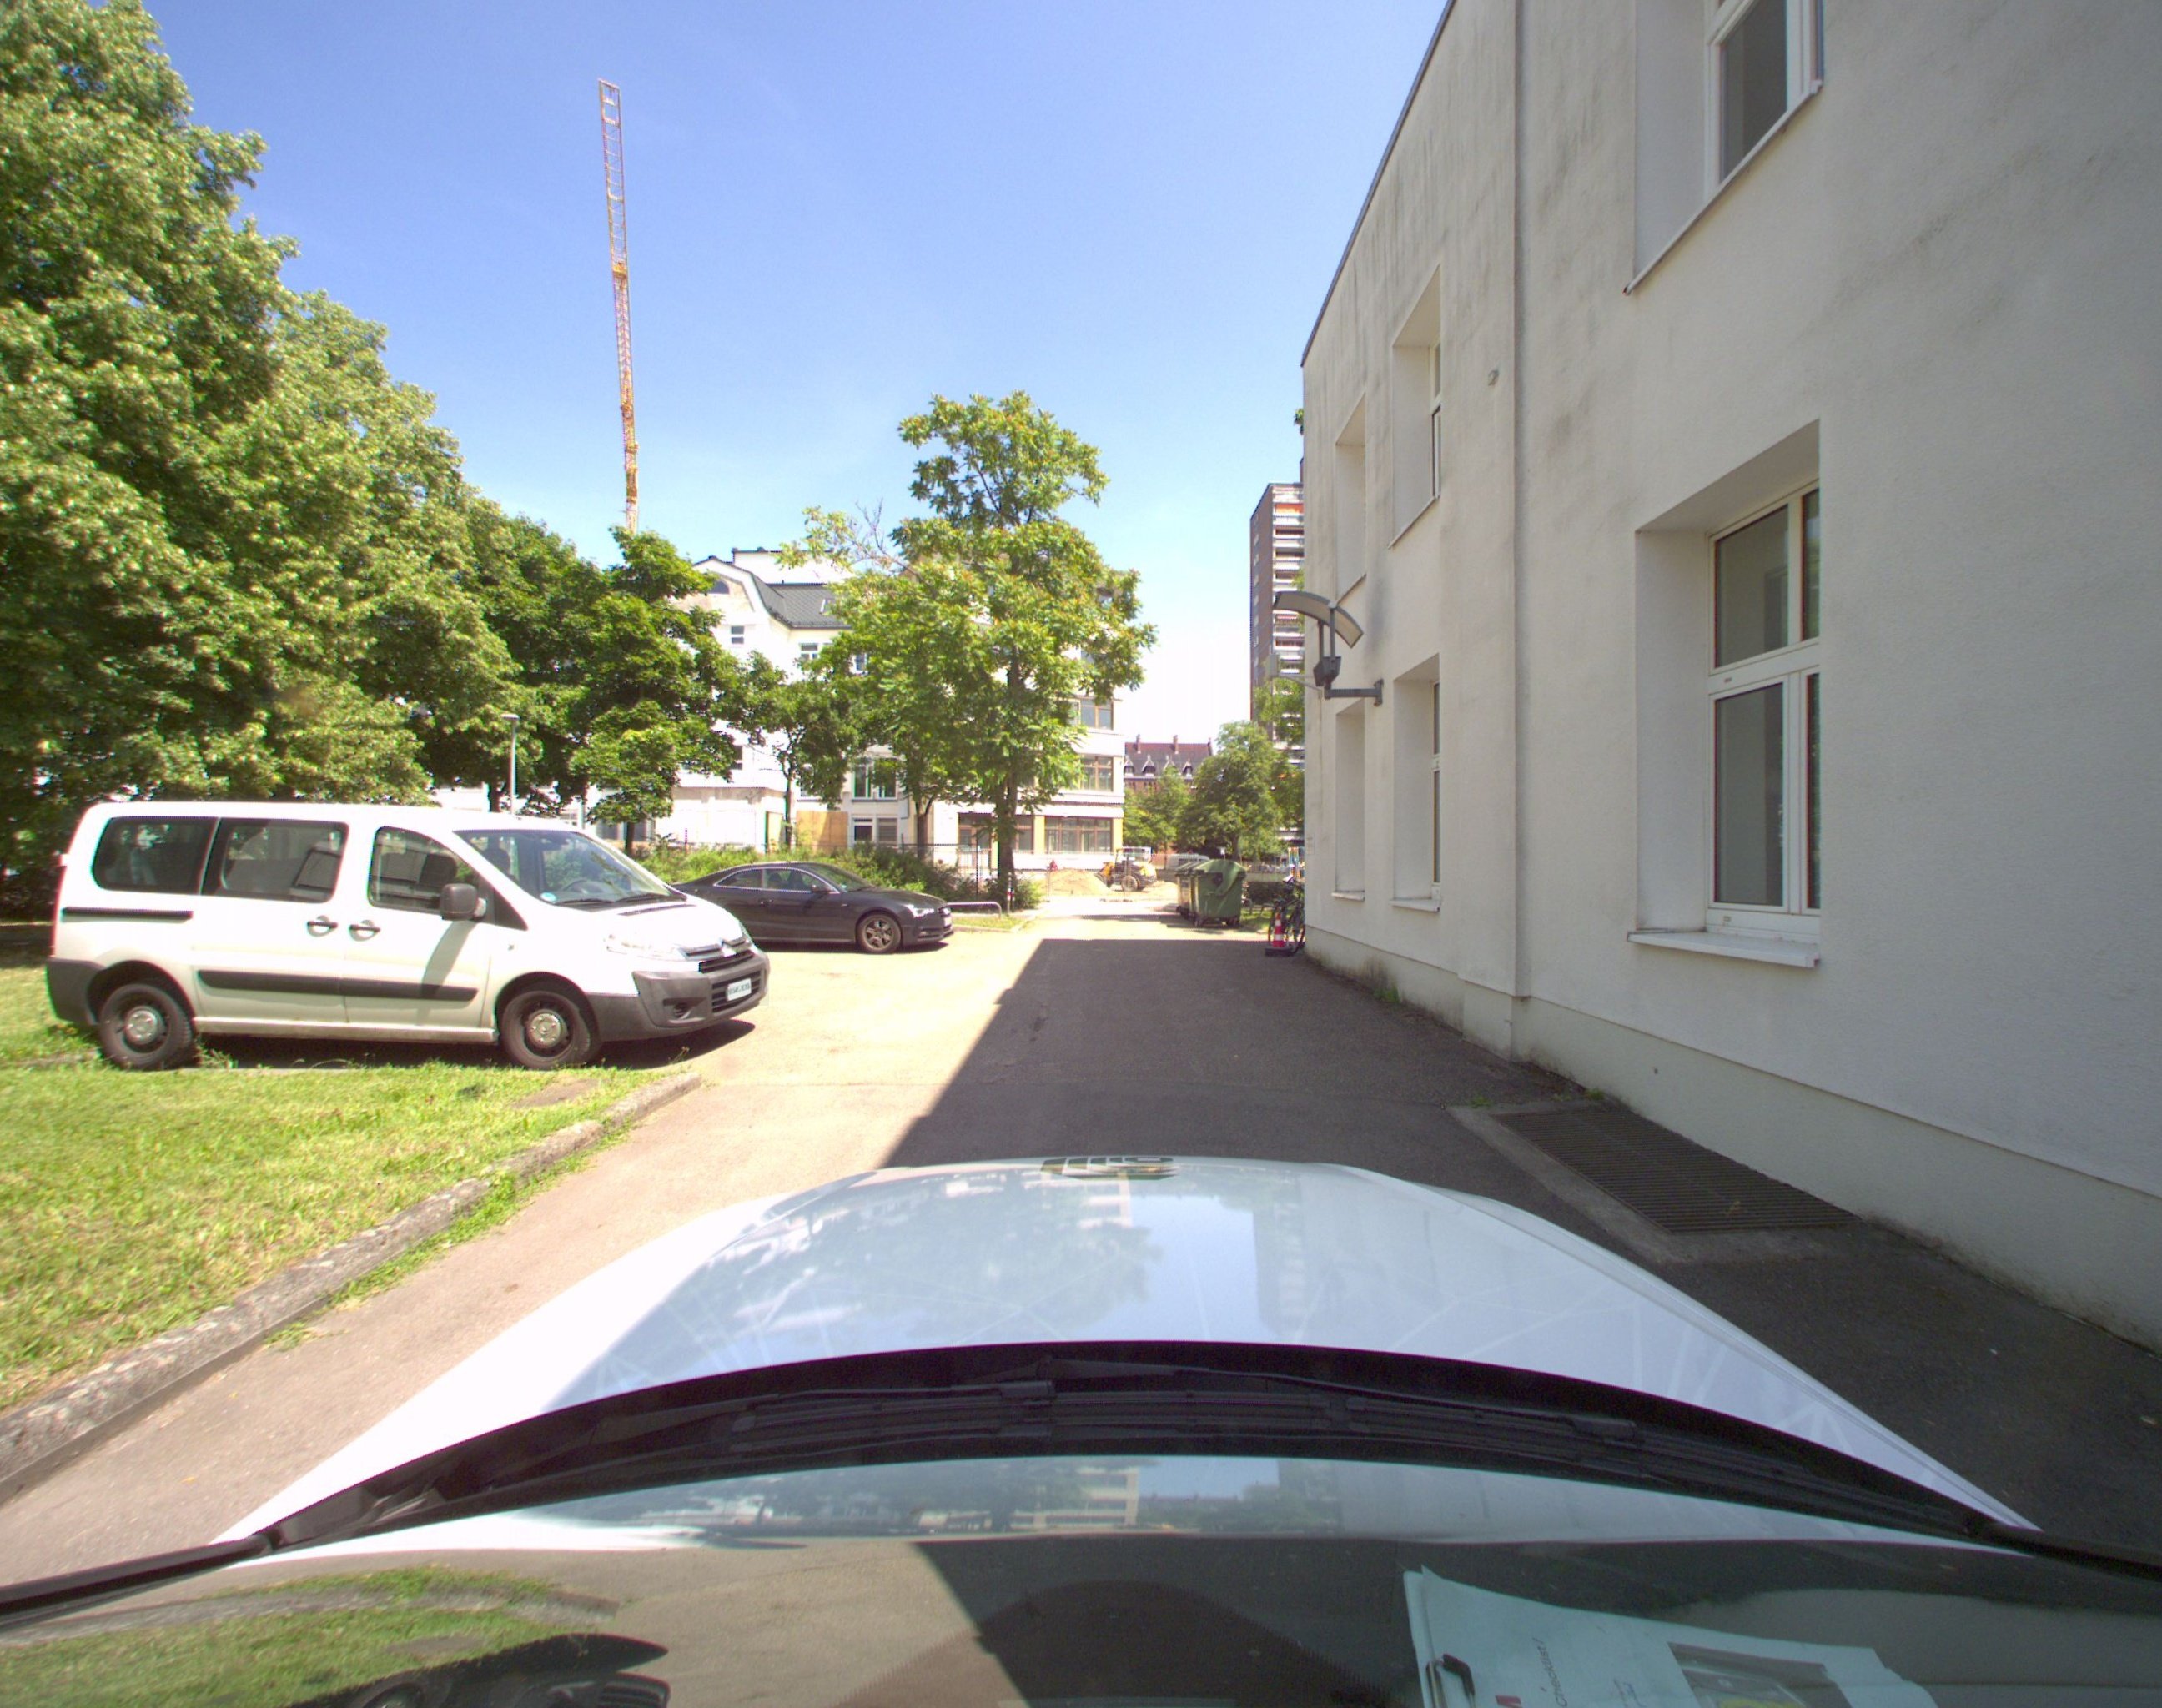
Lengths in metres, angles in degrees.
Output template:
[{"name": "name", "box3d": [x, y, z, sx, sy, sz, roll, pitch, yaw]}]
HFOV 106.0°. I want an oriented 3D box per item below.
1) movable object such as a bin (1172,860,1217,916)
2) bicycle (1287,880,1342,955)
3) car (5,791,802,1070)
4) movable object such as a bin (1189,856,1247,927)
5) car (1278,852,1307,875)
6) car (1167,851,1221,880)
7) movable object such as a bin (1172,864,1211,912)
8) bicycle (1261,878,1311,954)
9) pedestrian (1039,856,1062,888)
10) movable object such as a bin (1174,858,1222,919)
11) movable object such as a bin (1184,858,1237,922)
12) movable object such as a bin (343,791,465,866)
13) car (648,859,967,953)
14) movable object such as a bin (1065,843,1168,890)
[{"name": "movable object such as a bin", "box3d": [3.037, 0.895, 21.926, 1.071, 1.458, 1.378, 0, -1, 2]}, {"name": "bicycle", "box3d": [3.699, 0.970, 12.996, 0.403, 1.102, 1.827, 0, -1, 2]}, {"name": "car", "box3d": [-5.081, 0.529, 6.658, 4.827, 1.883, 2.069, 0, -1, 3]}, {"name": "movable object such as a bin", "box3d": [2.932, 0.795, 17.589, 1.071, 1.458, 1.378, 0, -1, 2]}, {"name": "car", "box3d": [21.445, 0.980, 82.357, 2.165, 2.258, 4.895, 0, -1, 23]}, {"name": "car", "box3d": [9.752, 0.983, 70.593, 2.004, 2.416, 5.196, 1, -1, -27]}, {"name": "movable object such as a bin", "box3d": [3.435, 1.038, 25.424, 1.071, 1.458, 1.378, 0, -1, 2]}, {"name": "bicycle", "box3d": [3.231, 0.945, 12.952, 0.403, 1.102, 1.827, 0, -1, 2]}, {"name": "pedestrian", "box3d": [-1.767, 1.024, 47.325, 0.973, 1.847, 0.923, -1, -2, 37]}, {"name": "movable object such as a bin", "box3d": [2.936, 0.852, 20.506, 1.071, 1.458, 1.378, 0, -1, 2]}, {"name": "movable object such as a bin", "box3d": [2.998, 0.823, 19.032, 1.071, 1.458, 1.378, 0, -1, 2]}, {"name": "movable object such as a bin", "box3d": [-40.263, -1.466, 48.522, 5.678, 4.373, 2.003, 0, -1, 5]}, {"name": "car", "box3d": [-4.234, 0.790, 13.146, 4.410, 1.380, 2.025, 0, -1, 3]}, {"name": "movable object such as a bin", "box3d": [2.008, 0.707, 46.688, 5.352, 2.464, 2.382, 2, -1, 30]}]
